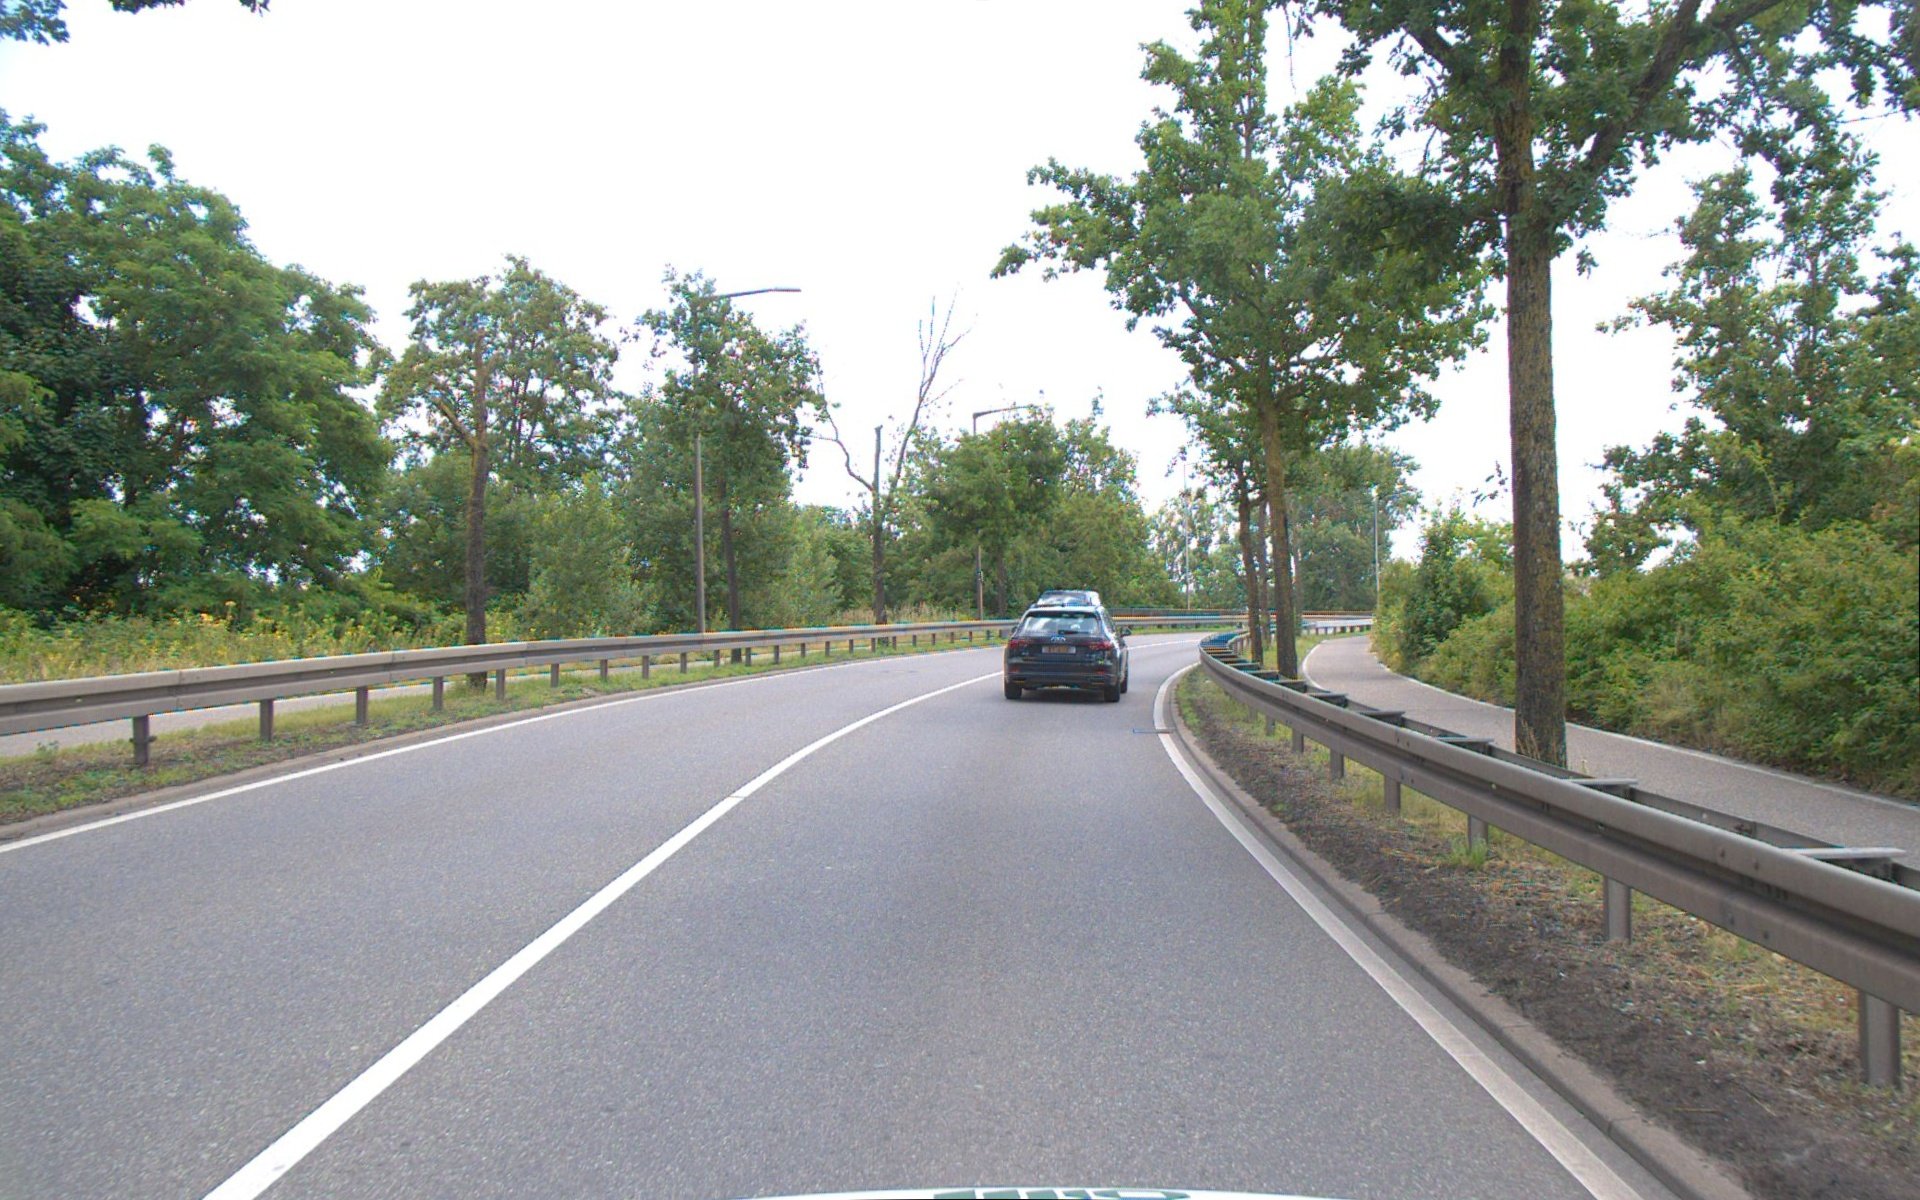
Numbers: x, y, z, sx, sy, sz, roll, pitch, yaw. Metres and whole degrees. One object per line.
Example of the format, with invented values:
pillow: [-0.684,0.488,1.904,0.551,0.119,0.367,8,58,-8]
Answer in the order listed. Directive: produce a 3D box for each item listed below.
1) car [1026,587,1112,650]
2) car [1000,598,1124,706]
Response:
car: [3.296,0.538,49.193,1.813,1.739,4.315,1,0,14]
car: [1.541,0.755,26.135,1.790,1.518,4.208,1,0,2]
